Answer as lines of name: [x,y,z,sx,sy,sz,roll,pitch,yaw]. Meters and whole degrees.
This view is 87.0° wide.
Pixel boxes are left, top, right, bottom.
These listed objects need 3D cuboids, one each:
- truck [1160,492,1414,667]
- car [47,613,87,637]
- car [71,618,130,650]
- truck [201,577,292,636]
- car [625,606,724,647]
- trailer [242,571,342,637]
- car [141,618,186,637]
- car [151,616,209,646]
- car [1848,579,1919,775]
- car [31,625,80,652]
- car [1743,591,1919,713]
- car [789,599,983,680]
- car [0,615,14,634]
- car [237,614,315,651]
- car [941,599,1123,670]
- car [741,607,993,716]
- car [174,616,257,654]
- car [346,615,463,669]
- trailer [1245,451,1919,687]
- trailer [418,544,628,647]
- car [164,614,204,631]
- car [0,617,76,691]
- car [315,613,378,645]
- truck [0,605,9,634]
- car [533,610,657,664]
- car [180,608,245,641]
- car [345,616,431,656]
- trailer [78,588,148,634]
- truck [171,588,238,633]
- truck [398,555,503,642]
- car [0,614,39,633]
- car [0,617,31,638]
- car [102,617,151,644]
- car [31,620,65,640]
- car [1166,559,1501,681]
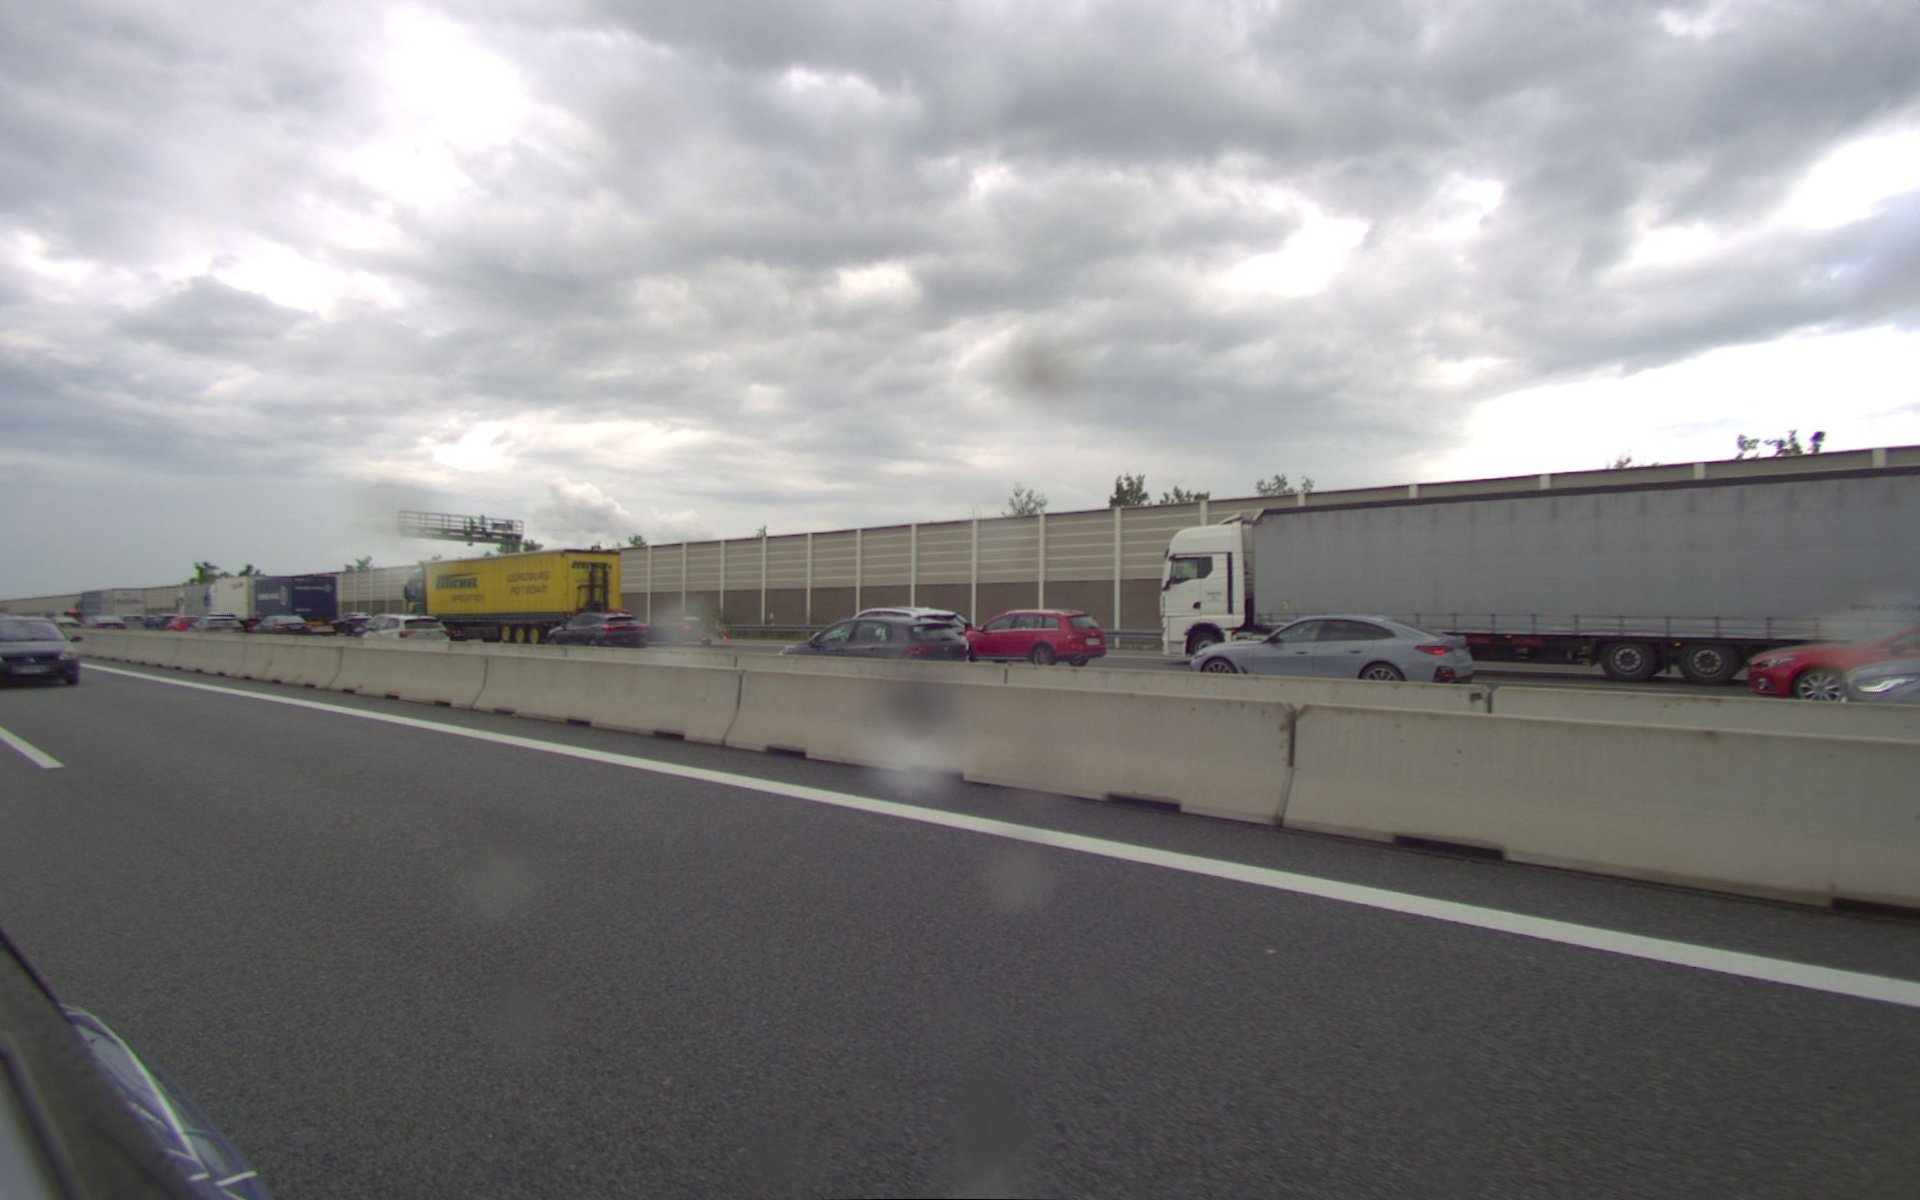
truck: [8.446,-0.454,26.503,5.724,4.065,2.716,-1,-1,42]
car: [-83.240,2.323,94.306,5.429,2.175,2.040,-1,-1,41]
car: [-57.177,2.233,67.272,5.802,2.017,2.040,-1,-1,40]
truck: [-51.465,0.551,72.807,11.061,3.975,2.907,-1,-1,41]
car: [-12.475,1.142,44.103,4.407,1.712,2.040,-1,-1,40]
trailer: [-43.520,0.332,65.787,10.115,3.969,2.900,-1,-1,41]
car: [-68.943,2.346,87.532,5.804,1.612,2.040,-1,-1,41]
car: [-54.414,2.140,70.537,5.802,2.017,2.040,-1,-1,40]
car: [10.556,0.642,8.244,4.889,1.712,1.936,-1,-1,40]
car: [-70.478,2.958,78.818,5.802,2.017,2.040,-1,-1,40]
car: [14.295,0.728,14.816,4.407,1.712,1.936,-1,-1,40]
car: [-1.916,0.925,25.210,4.774,1.830,2.040,-1,-1,40]
car: [-97.395,2.501,102.425,5.423,1.905,1.900,-1,-1,41]
car: [-37.526,1.761,55.450,5.802,1.907,2.040,-1,-1,40]
car: [1.827,0.858,26.442,4.407,1.712,2.040,-1,-1,40]
car: [-1.876,1.085,19.390,4.774,1.830,2.040,-1,-1,40]
car: [-37.326,1.704,50.705,5.802,1.768,2.040,-1,-1,40]
car: [-18.940,1.391,34.418,4.407,1.712,2.040,-1,-1,40]
trailer: [13.518,-0.487,21.900,14.449,4.062,2.732,-1,-1,42]
trailer: [-20.177,-0.109,45.844,14.443,4.062,2.733,-1,-1,41]
car: [-77.592,2.254,101.146,5.804,1.612,2.040,-1,-1,41]
car: [-19.754,1.071,21.072,3.998,1.413,1.558,-1,-1,42]
car: [-41.317,1.930,68.145,5.293,2.017,2.040,-1,-1,40]
truck: [-166.358,3.442,173.704,11.686,4.894,3.185,-1,-1,39]
car: [-12.489,1.210,34.537,4.407,1.712,2.040,-1,-1,40]
car: [-47.725,1.560,64.545,5.802,2.017,2.040,-1,-1,40]
car: [-26.317,1.633,46.499,4.407,1.712,2.040,-1,-1,40]
trailer: [-83.801,1.138,100.018,14.306,4.192,3.027,-1,-1,41]
truck: [-69.299,0.974,92.715,10.492,3.928,2.659,-1,-1,41]
truck: [-25.397,-0.036,50.348,5.722,4.065,2.717,-1,-1,41]
car: [-82.819,2.085,88.997,5.804,1.576,2.040,-1,-1,41]
car: [-89.356,2.579,95.484,5.429,1.911,1.914,-1,-1,41]
car: [-65.509,2.388,79.520,5.804,2.017,2.040,-1,-1,41]
car: [-92.366,3.047,102.467,5.429,1.911,1.914,-1,-1,41]
car: [6.375,0.339,17.661,5.109,1.830,2.040,-1,-1,40]
